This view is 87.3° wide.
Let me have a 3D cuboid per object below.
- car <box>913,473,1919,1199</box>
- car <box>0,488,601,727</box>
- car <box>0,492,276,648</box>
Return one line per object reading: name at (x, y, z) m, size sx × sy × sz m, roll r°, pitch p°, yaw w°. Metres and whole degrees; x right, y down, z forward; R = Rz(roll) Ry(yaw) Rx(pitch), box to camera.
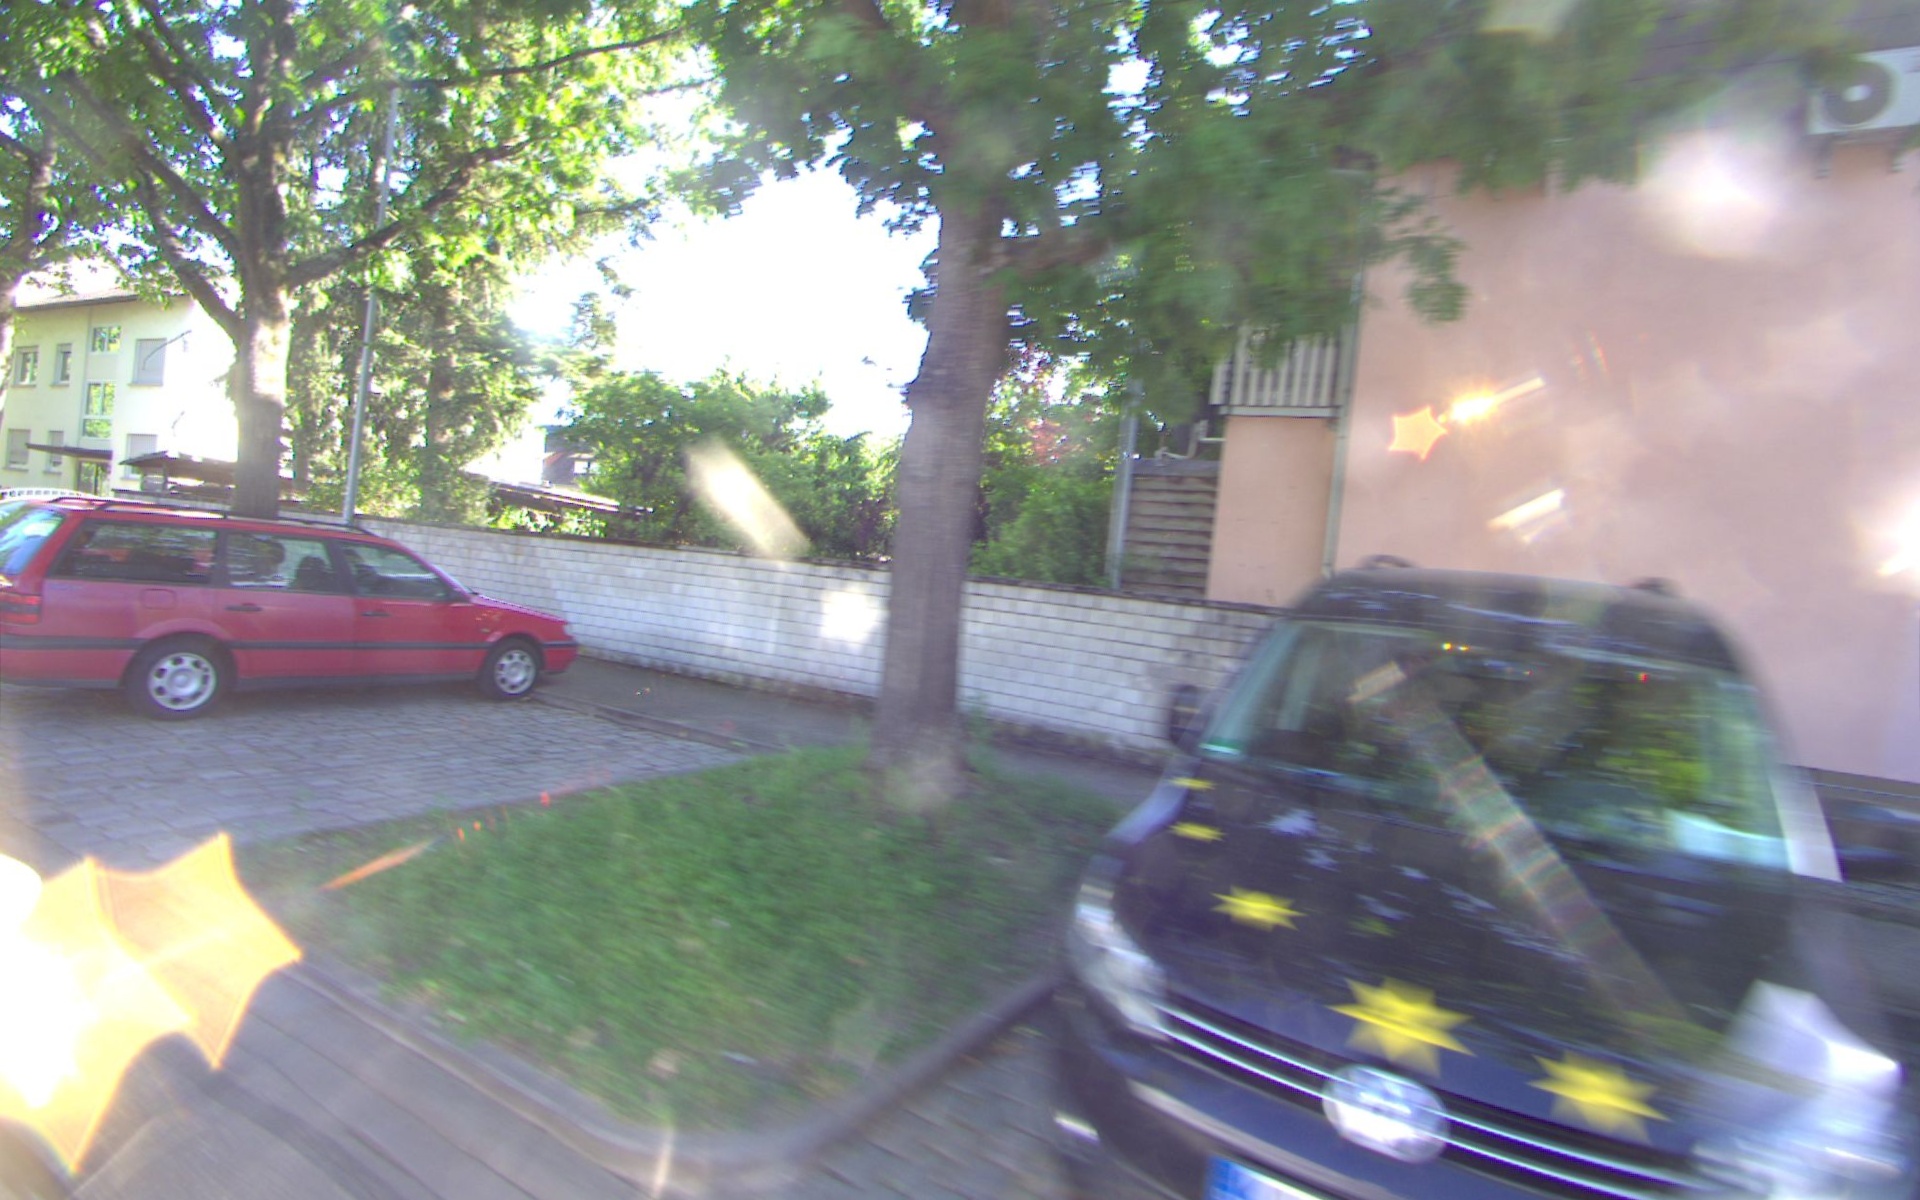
car at (1.770, 0.757, 3.544) m, size 1.759 × 1.806 × 4.212 m, roll 7°, pitch 3°, yaw 30°
car at (-5.535, 0.046, 8.523) m, size 1.807 × 1.465 × 4.505 m, roll 7°, pitch 2°, yaw 31°
car at (-9.683, -0.331, 10.504) m, size 1.726 × 1.503 × 3.779 m, roll 5°, pitch 1°, yaw 31°
